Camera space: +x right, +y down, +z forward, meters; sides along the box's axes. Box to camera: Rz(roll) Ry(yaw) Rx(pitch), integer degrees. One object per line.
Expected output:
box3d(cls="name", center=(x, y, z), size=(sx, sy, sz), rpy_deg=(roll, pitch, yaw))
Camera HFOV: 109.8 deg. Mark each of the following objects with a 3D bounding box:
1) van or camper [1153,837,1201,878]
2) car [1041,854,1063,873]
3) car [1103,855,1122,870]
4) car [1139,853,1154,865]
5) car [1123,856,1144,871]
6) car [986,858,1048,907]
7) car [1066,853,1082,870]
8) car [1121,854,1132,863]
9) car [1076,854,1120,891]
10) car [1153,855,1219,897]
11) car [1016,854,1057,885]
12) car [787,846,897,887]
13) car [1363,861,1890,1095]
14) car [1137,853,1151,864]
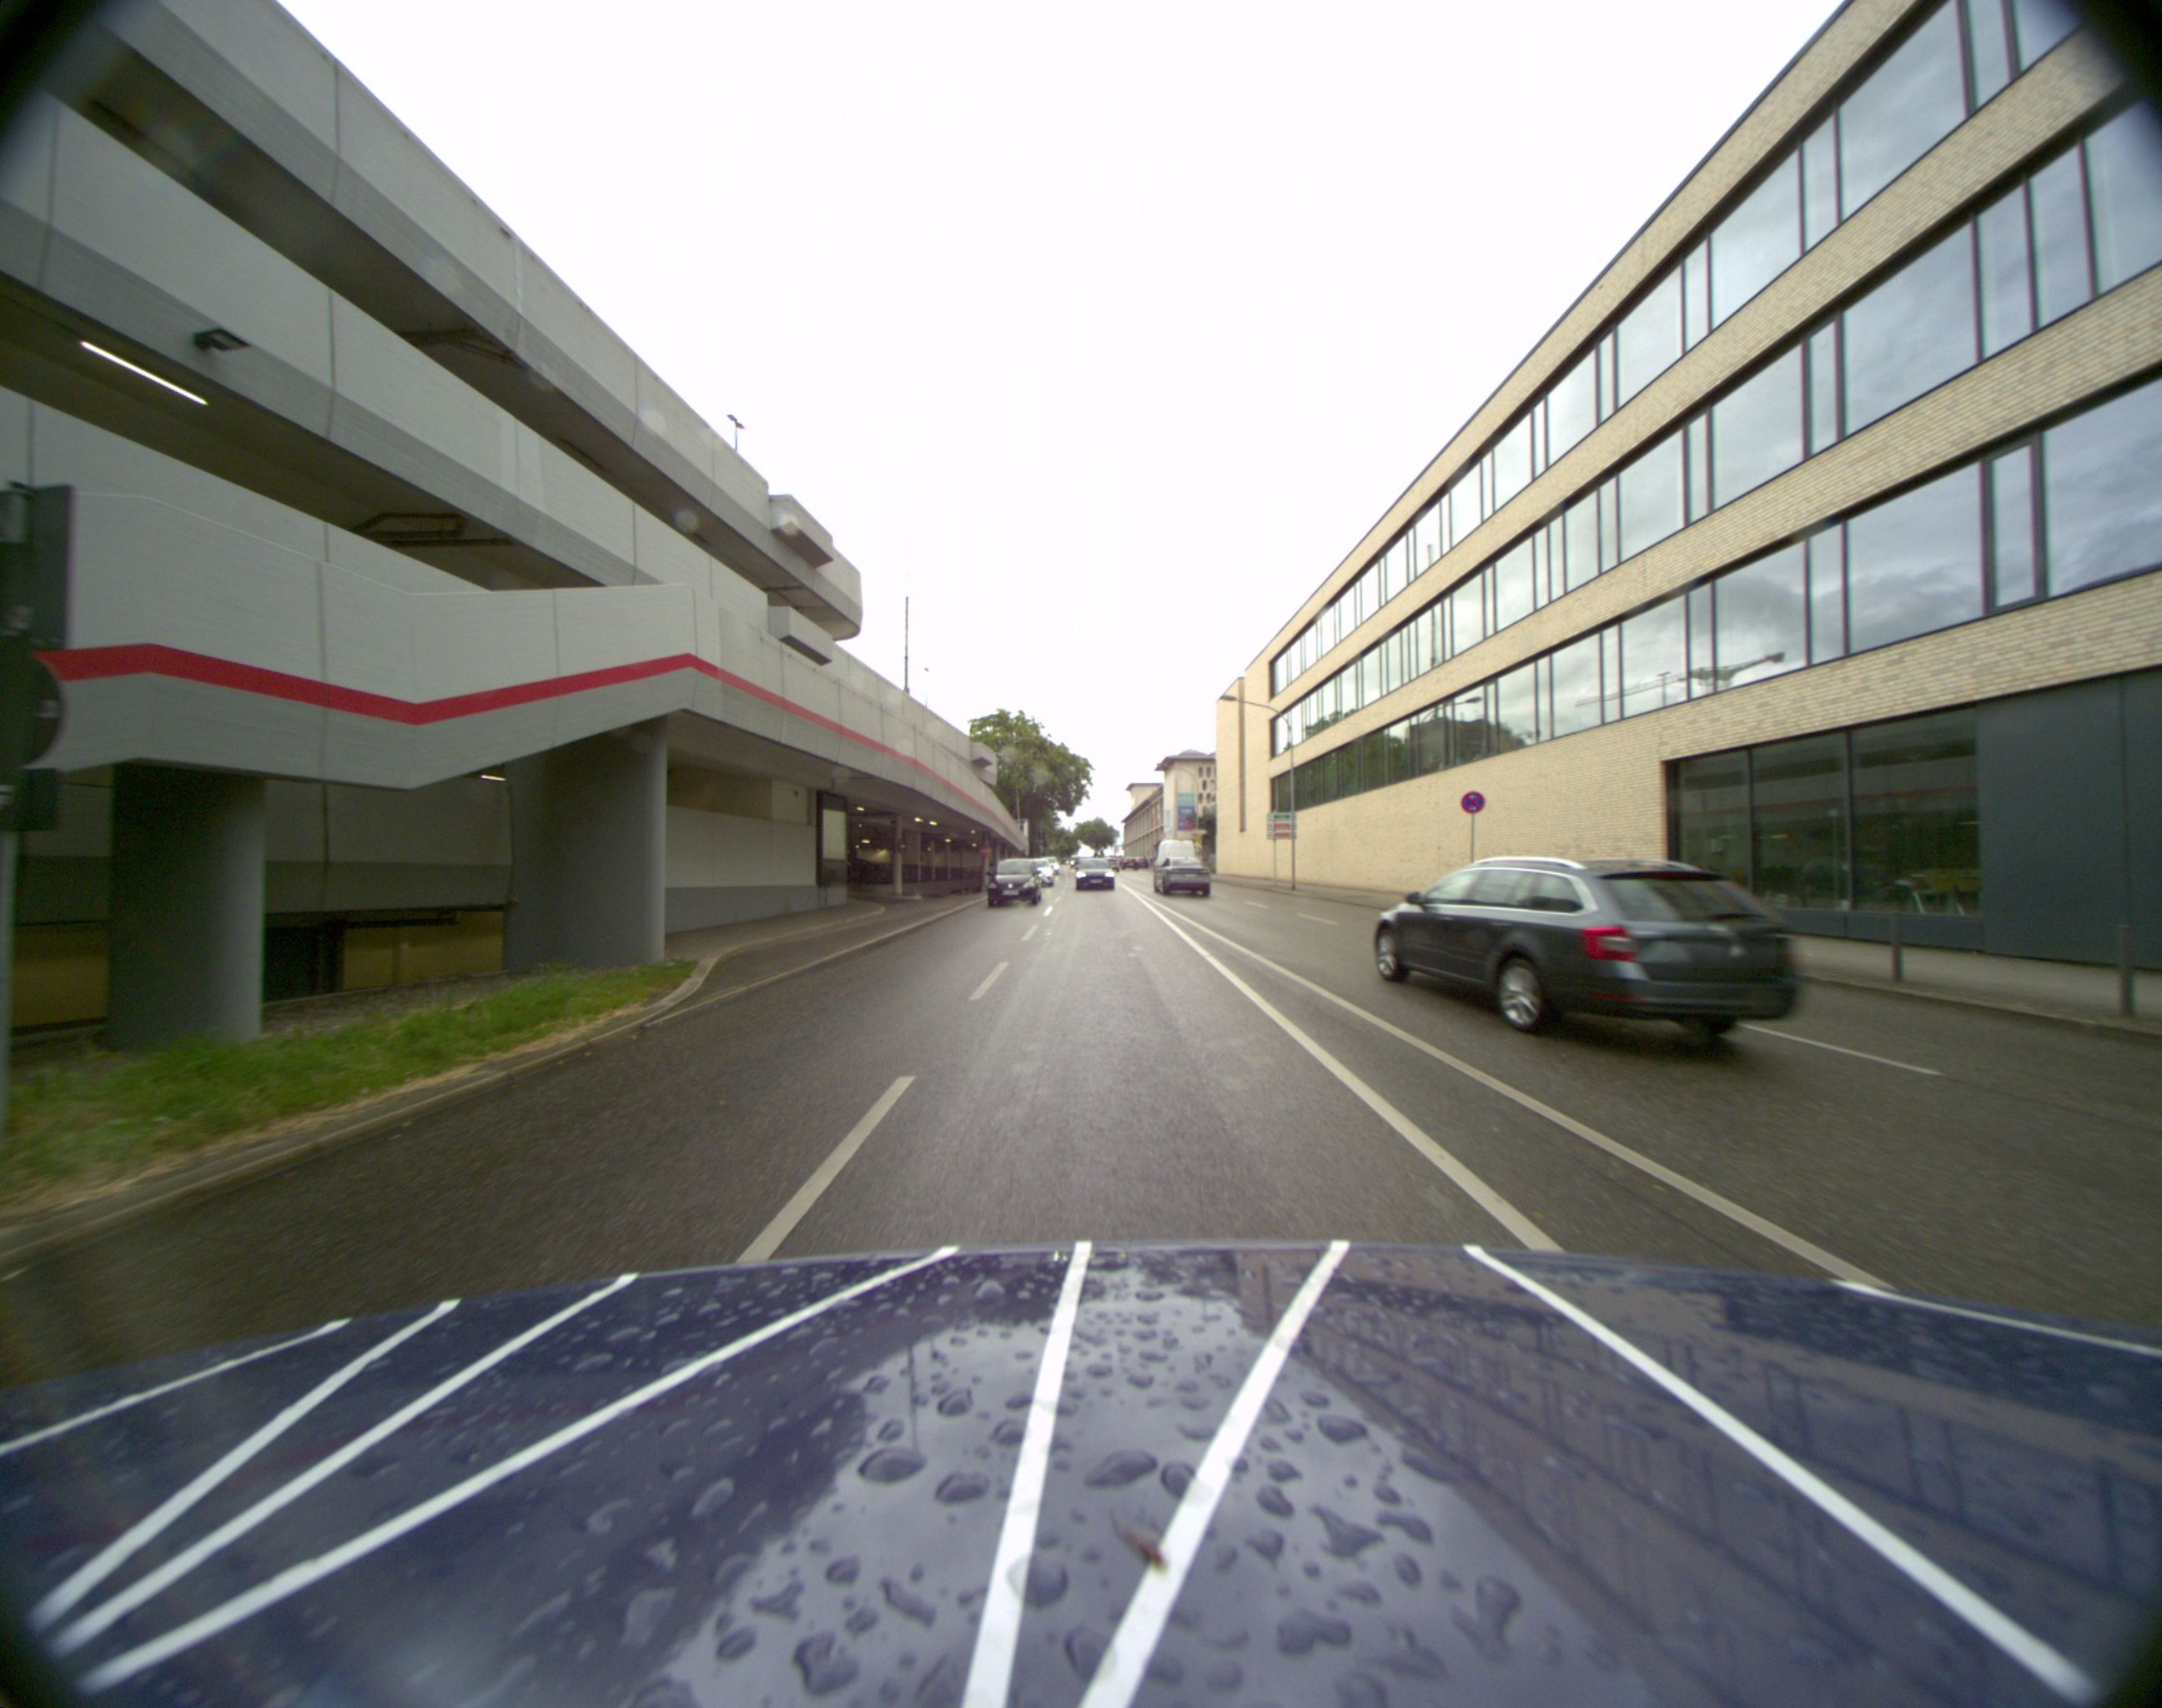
box3d(cls="van or camper", center=(6.390, 0.220, 51.167), size=(2.108, 2.567, 5.905), rpy_deg=(1, 0, -4))
box3d(cls="car", center=(-2.649, 0.832, 69.753), size=(1.727, 1.628, 3.999), rpy_deg=(-2, 1, 1))
box3d(cls="car", center=(3.236, 0.834, 79.227), size=(1.745, 1.461, 3.882), rpy_deg=(1, 0, -1))
box3d(cls="car", center=(9.191, 0.700, 106.376), size=(1.800, 1.516, 4.056), rpy_deg=(-2, -1, 1))
box3d(cls="car", center=(6.260, 1.099, 91.256), size=(1.860, 1.652, 3.998), rpy_deg=(-2, 0, -5))
box3d(cls="car", center=(-2.115, 0.923, 26.146), size=(1.683, 1.516, 3.990), rpy_deg=(-2, -1, 1))
box3d(cls="car", center=(-0.878, 0.897, 97.761), size=(1.998, 2.002, 3.999), rpy_deg=(-2, 1, 0))
box3d(cls="car", center=(8.247, 0.764, 137.061), size=(1.800, 1.516, 4.056), rpy_deg=(-2, -1, 1))
box3d(cls="car", center=(0.748, 0.817, 34.994), size=(1.852, 1.516, 3.990), rpy_deg=(-2, -1, 1))
box3d(cls="car", center=(4.134, 0.822, 30.646), size=(1.888, 1.489, 4.561), rpy_deg=(1, 0, -2))
box3d(cls="car", center=(-2.370, 0.808, 41.103), size=(1.915, 1.443, 4.036), rpy_deg=(-2, 1, 0))
box3d(cls="car", center=(-10.669, 0.612, 34.108), size=(4.251, 1.650, 2.003), rpy_deg=(-1, -4, 10))
box3d(cls="car", center=(4.474, 0.863, 7.257), size=(1.816, 1.454, 4.287), rpy_deg=(2, 1, -2))
box3d(cls="car", center=(9.290, 0.621, 111.918), size=(1.800, 1.516, 4.056), rpy_deg=(-2, -1, 1))
